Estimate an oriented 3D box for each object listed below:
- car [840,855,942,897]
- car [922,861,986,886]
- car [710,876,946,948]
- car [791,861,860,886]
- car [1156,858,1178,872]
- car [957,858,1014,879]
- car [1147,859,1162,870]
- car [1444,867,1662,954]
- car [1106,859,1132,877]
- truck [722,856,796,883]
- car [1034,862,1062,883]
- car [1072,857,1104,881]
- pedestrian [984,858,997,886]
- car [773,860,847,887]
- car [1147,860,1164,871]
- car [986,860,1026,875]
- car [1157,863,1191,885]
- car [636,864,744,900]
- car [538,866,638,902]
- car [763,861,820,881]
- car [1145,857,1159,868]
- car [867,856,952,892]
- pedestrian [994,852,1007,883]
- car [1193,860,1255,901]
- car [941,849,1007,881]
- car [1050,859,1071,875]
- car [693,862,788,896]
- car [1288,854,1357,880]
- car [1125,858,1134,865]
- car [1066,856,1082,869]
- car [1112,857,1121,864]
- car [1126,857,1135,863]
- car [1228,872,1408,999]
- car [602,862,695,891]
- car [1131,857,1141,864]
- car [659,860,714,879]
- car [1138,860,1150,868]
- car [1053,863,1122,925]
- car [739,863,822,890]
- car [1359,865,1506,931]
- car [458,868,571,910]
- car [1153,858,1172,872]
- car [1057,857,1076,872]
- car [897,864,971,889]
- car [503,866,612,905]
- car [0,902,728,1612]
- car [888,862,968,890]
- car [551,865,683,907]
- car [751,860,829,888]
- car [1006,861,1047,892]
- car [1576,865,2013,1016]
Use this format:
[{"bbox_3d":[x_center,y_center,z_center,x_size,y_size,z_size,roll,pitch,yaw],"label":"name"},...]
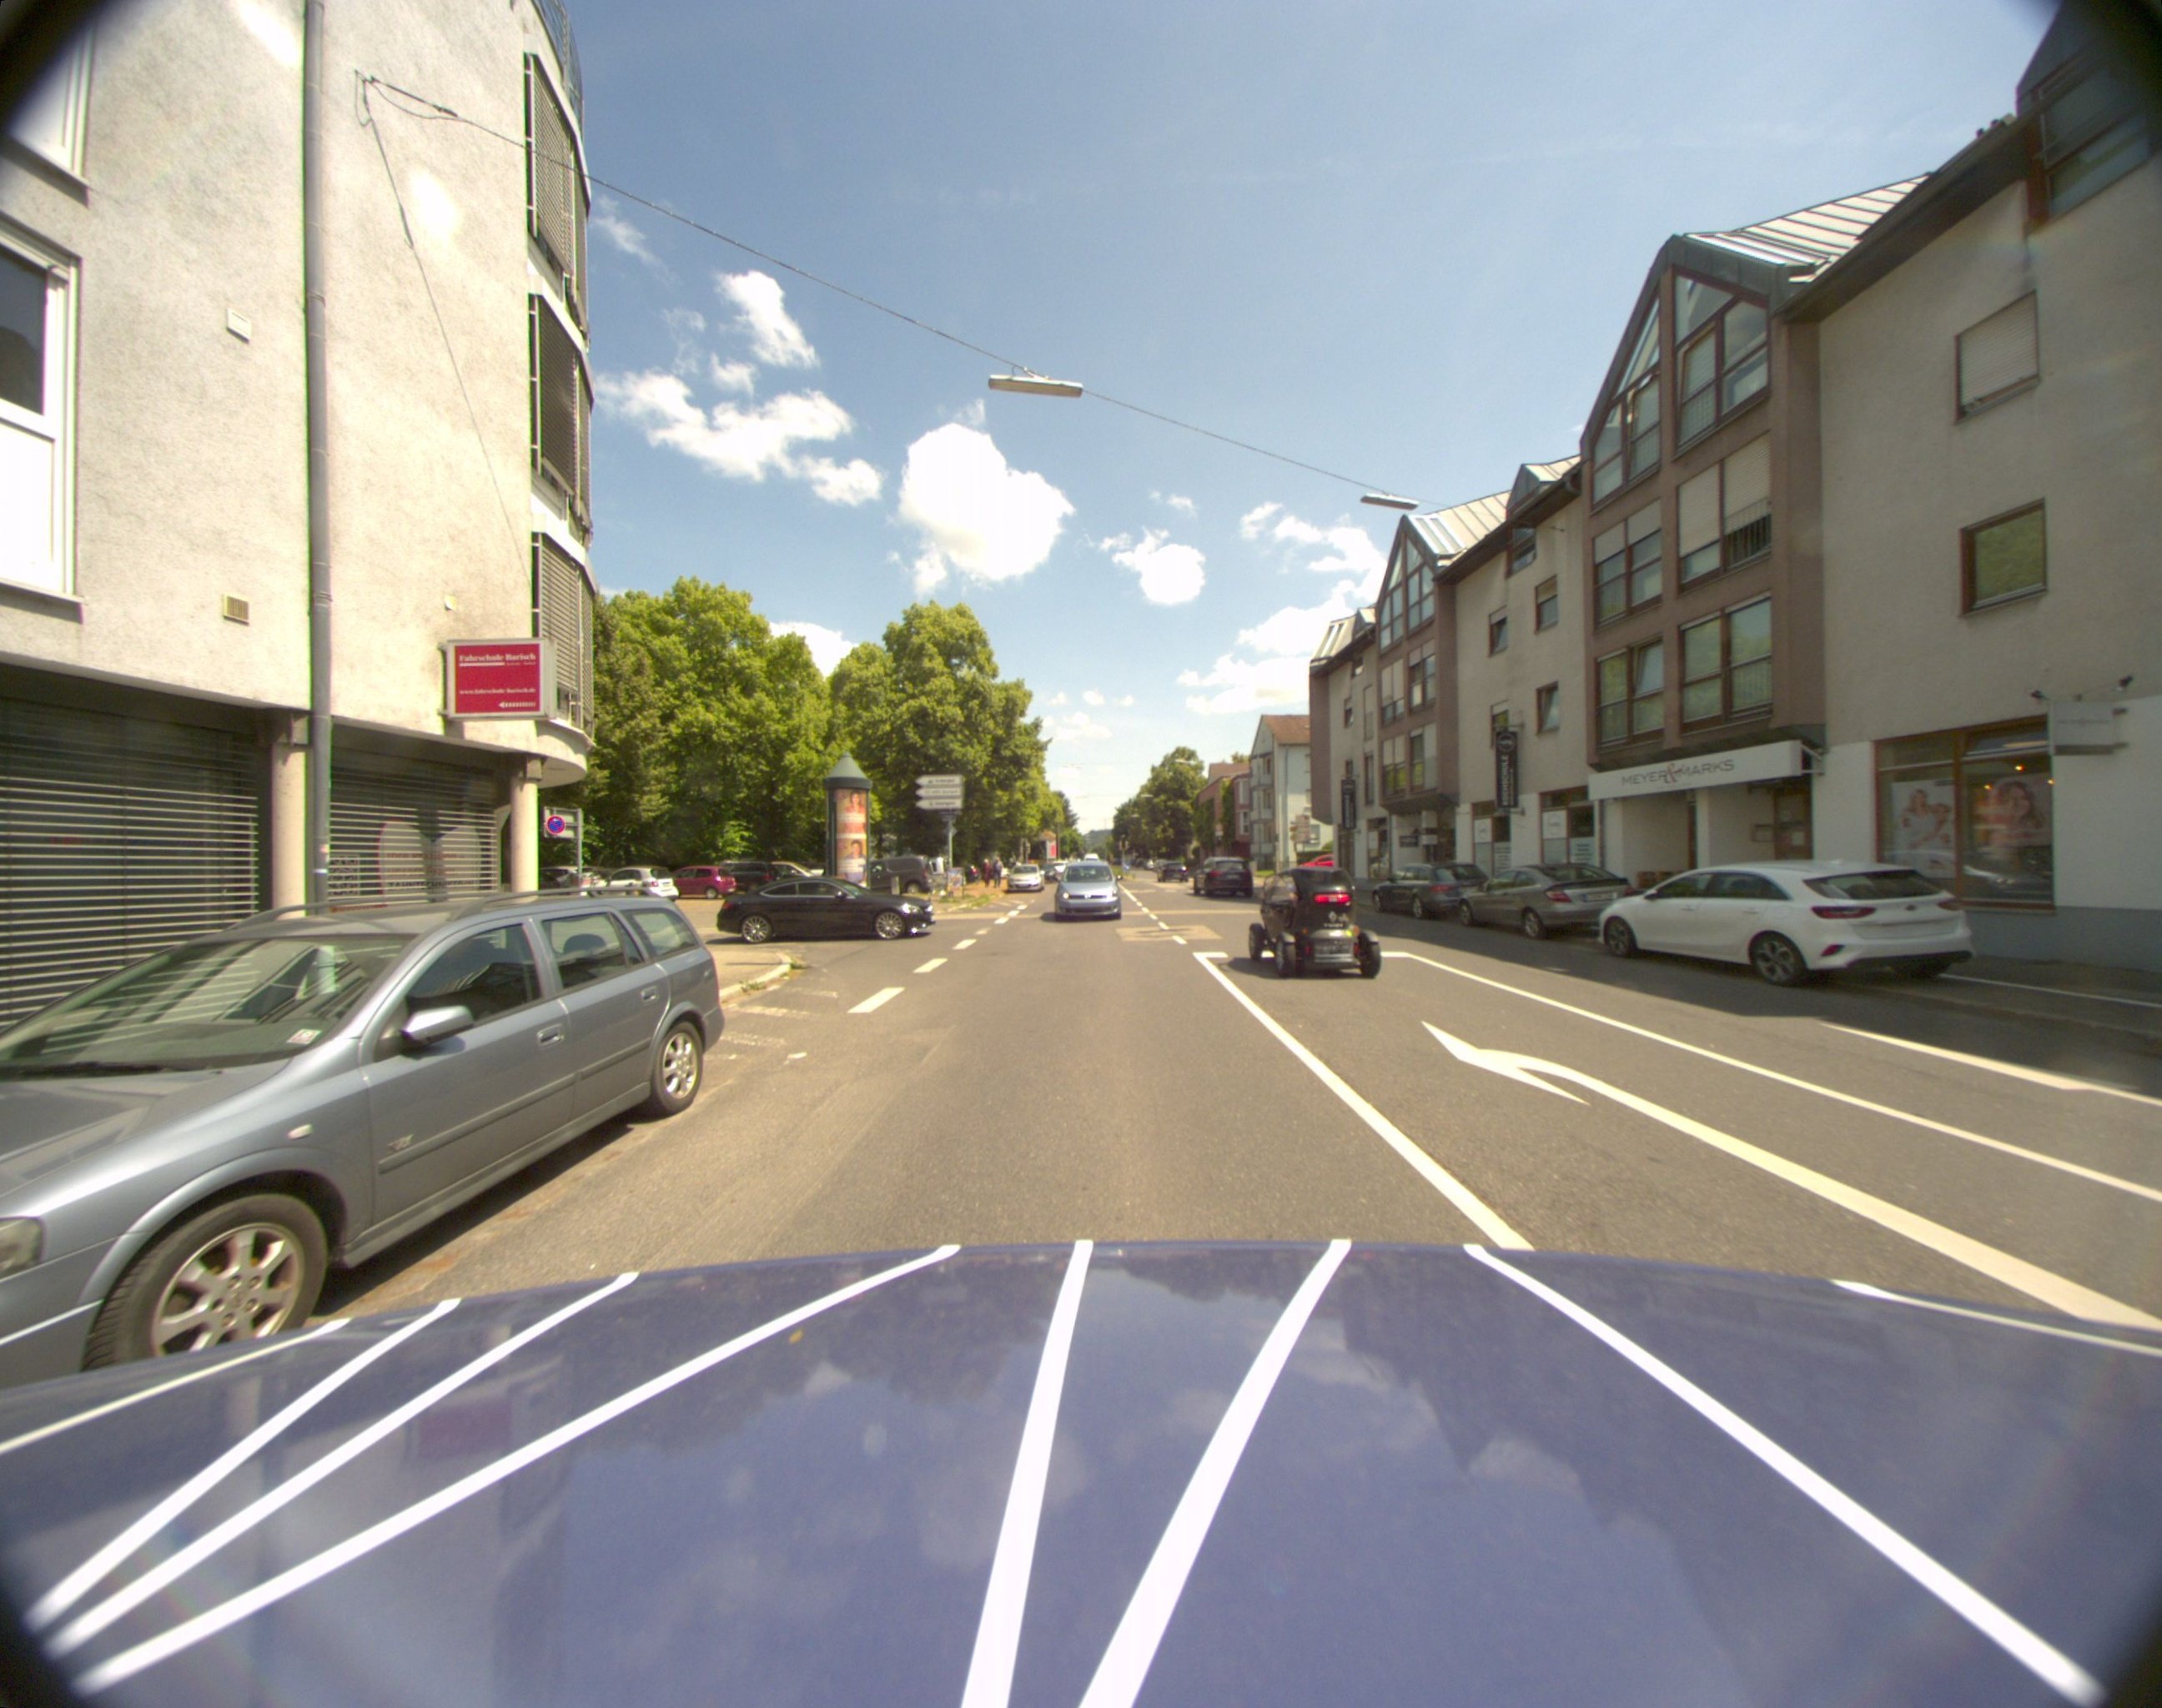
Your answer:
[{"bbox_3d":[-8.471,0.969,34.148,3.997,1.740,2.016,-1,0,0],"label":"car"},{"bbox_3d":[-8.674,1.331,52.264,3.996,1.464,1.717,-2,0,2],"label":"car"},{"bbox_3d":[-5.514,1.252,17.027,4.593,1.357,2.000,-1,0,-1],"label":"car"},{"bbox_3d":[-17.143,1.304,51.035,3.996,1.577,1.805,0,0,2],"label":"car"},{"bbox_3d":[9.744,1.242,85.967,1.891,1.531,4.568,0,0,-1],"label":"car"},{"bbox_3d":[-7.778,1.171,62.170,4.336,1.485,1.809,-3,0,-1],"label":"car"},{"bbox_3d":[10.200,1.474,105.685,1.752,1.499,4.000,-2,0,-1],"label":"car"},{"bbox_3d":[9.434,1.051,15.695,1.844,1.375,4.327,-3,0,1],"label":"car"},{"bbox_3d":[3.369,1.194,68.243,1.868,1.516,4.290,-1,0,-4],"label":"car"},{"bbox_3d":[-21.675,1.028,51.265,4.130,1.804,1.879,0,0,3],"label":"truck"},{"bbox_3d":[-2.295,1.291,54.049,1.667,1.419,4.000,-1,0,1],"label":"car"},{"bbox_3d":[0.551,1.035,54.340,1.998,1.652,4.626,0,0,4],"label":"car"},{"bbox_3d":[-5.222,1.047,43.714,0.618,1.584,0.737,-1,1,0],"label":"pedestrian"},{"bbox_3d":[-17.174,1.249,48.281,3.996,1.652,1.805,0,0,2],"label":"car"},{"bbox_3d":[9.708,1.502,99.171,1.752,1.433,4.000,-2,0,-1],"label":"car"},{"bbox_3d":[-7.527,1.374,75.949,3.849,1.350,1.629,-2,0,-8],"label":"car"},{"bbox_3d":[6.260,1.316,51.522,1.747,1.411,4.223,1,0,1],"label":"car"},{"bbox_3d":[-17.617,1.250,34.355,3.997,1.519,1.681,0,0,-1],"label":"car"},{"bbox_3d":[-22.017,1.306,34.003,3.389,1.545,1.591,0,0,-1],"label":"car"},{"bbox_3d":[-22.868,1.334,60.111,3.806,1.578,1.738,0,0,3],"label":"car"},{"bbox_3d":[10.319,1.202,110.849,1.572,1.499,4.000,-2,0,-1],"label":"car"},{"bbox_3d":[-8.207,0.933,36.684,3.774,1.657,1.663,0,0,-4],"label":"car"},{"bbox_3d":[-4.618,0.744,43.715,0.618,1.754,0.737,-1,1,0],"label":"pedestrian"},{"bbox_3d":[6.026,1.086,32.488,1.817,1.611,4.442,1,-1,0],"label":"car"},{"bbox_3d":[-8.181,0.832,58.480,4.614,2.263,2.106,-3,0,1],"label":"car"},{"bbox_3d":[-2.018,1.270,75.908,1.721,1.434,4.112,-2,0,2],"label":"car"},{"bbox_3d":[-16.987,1.225,38.066,3.998,1.669,1.701,0,0,-2],"label":"car"},{"bbox_3d":[16.129,0.887,50.841,3.997,1.443,1.733,-4,-1,-1],"label":"car"},{"bbox_3d":[11.060,1.675,172.047,1.757,1.325,3.608,-2,0,-1],"label":"car"},{"bbox_3d":[-0.860,1.035,91.987,1.775,1.434,3.339,-1,0,1],"label":"car"},{"bbox_3d":[7.970,1.527,171.704,1.752,1.499,4.000,-2,0,-1],"label":"car"},{"bbox_3d":[10.779,1.306,166.565,1.757,1.325,3.608,-2,0,-1],"label":"car"},{"bbox_3d":[3.118,1.013,10.491,1.501,1.450,2.722,-1,0,-4],"label":"car"},{"bbox_3d":[-22.305,1.147,39.263,3.807,1.451,1.738,0,0,0],"label":"car"},{"bbox_3d":[10.842,1.325,150.477,1.757,1.325,3.608,-2,0,-1],"label":"car"},{"bbox_3d":[-33.105,1.296,63.799,3.806,1.558,1.738,0,0,5],"label":"car"},{"bbox_3d":[10.633,1.691,128.625,1.757,1.325,3.608,-2,0,-1],"label":"car"},{"bbox_3d":[0.199,1.034,21.421,1.747,1.513,4.223,-1,0,1],"label":"car"},{"bbox_3d":[-16.994,1.273,43.069,3.997,1.474,1.681,0,0,-1],"label":"car"},{"bbox_3d":[9.444,1.110,20.933,1.844,1.439,4.969,-3,0,2],"label":"car"},{"bbox_3d":[-21.545,1.306,28.969,3.070,1.545,1.591,0,0,-1],"label":"car"},{"bbox_3d":[9.897,1.313,92.237,1.752,1.499,4.000,-2,0,-1],"label":"car"},{"bbox_3d":[-1.532,1.159,83.468,1.867,1.516,4.208,-1,0,1],"label":"car"},{"bbox_3d":[-8.612,1.301,44.677,3.996,1.420,1.669,0,0,2],"label":"car"},{"bbox_3d":[-21.737,1.301,31.630,3.389,1.545,1.591,0,0,-1],"label":"car"},{"bbox_3d":[-3.409,1.091,3.418,1.682,1.446,4.143,-2,0,-1],"label":"car"},{"bbox_3d":[-8.317,1.169,41.593,3.997,1.390,1.808,-2,0,-1],"label":"car"},{"bbox_3d":[-17.738,1.214,29.171,3.997,1.545,1.681,0,0,-1],"label":"car"},{"bbox_3d":[-17.453,1.189,45.709,3.997,1.631,1.681,0,0,-1],"label":"car"},{"bbox_3d":[-2.794,1.135,39.524,1.771,1.476,3.891,-1,0,0],"label":"car"},{"bbox_3d":[9.172,0.976,10.435,1.844,1.480,4.386,-3,0,0],"label":"car"}]
